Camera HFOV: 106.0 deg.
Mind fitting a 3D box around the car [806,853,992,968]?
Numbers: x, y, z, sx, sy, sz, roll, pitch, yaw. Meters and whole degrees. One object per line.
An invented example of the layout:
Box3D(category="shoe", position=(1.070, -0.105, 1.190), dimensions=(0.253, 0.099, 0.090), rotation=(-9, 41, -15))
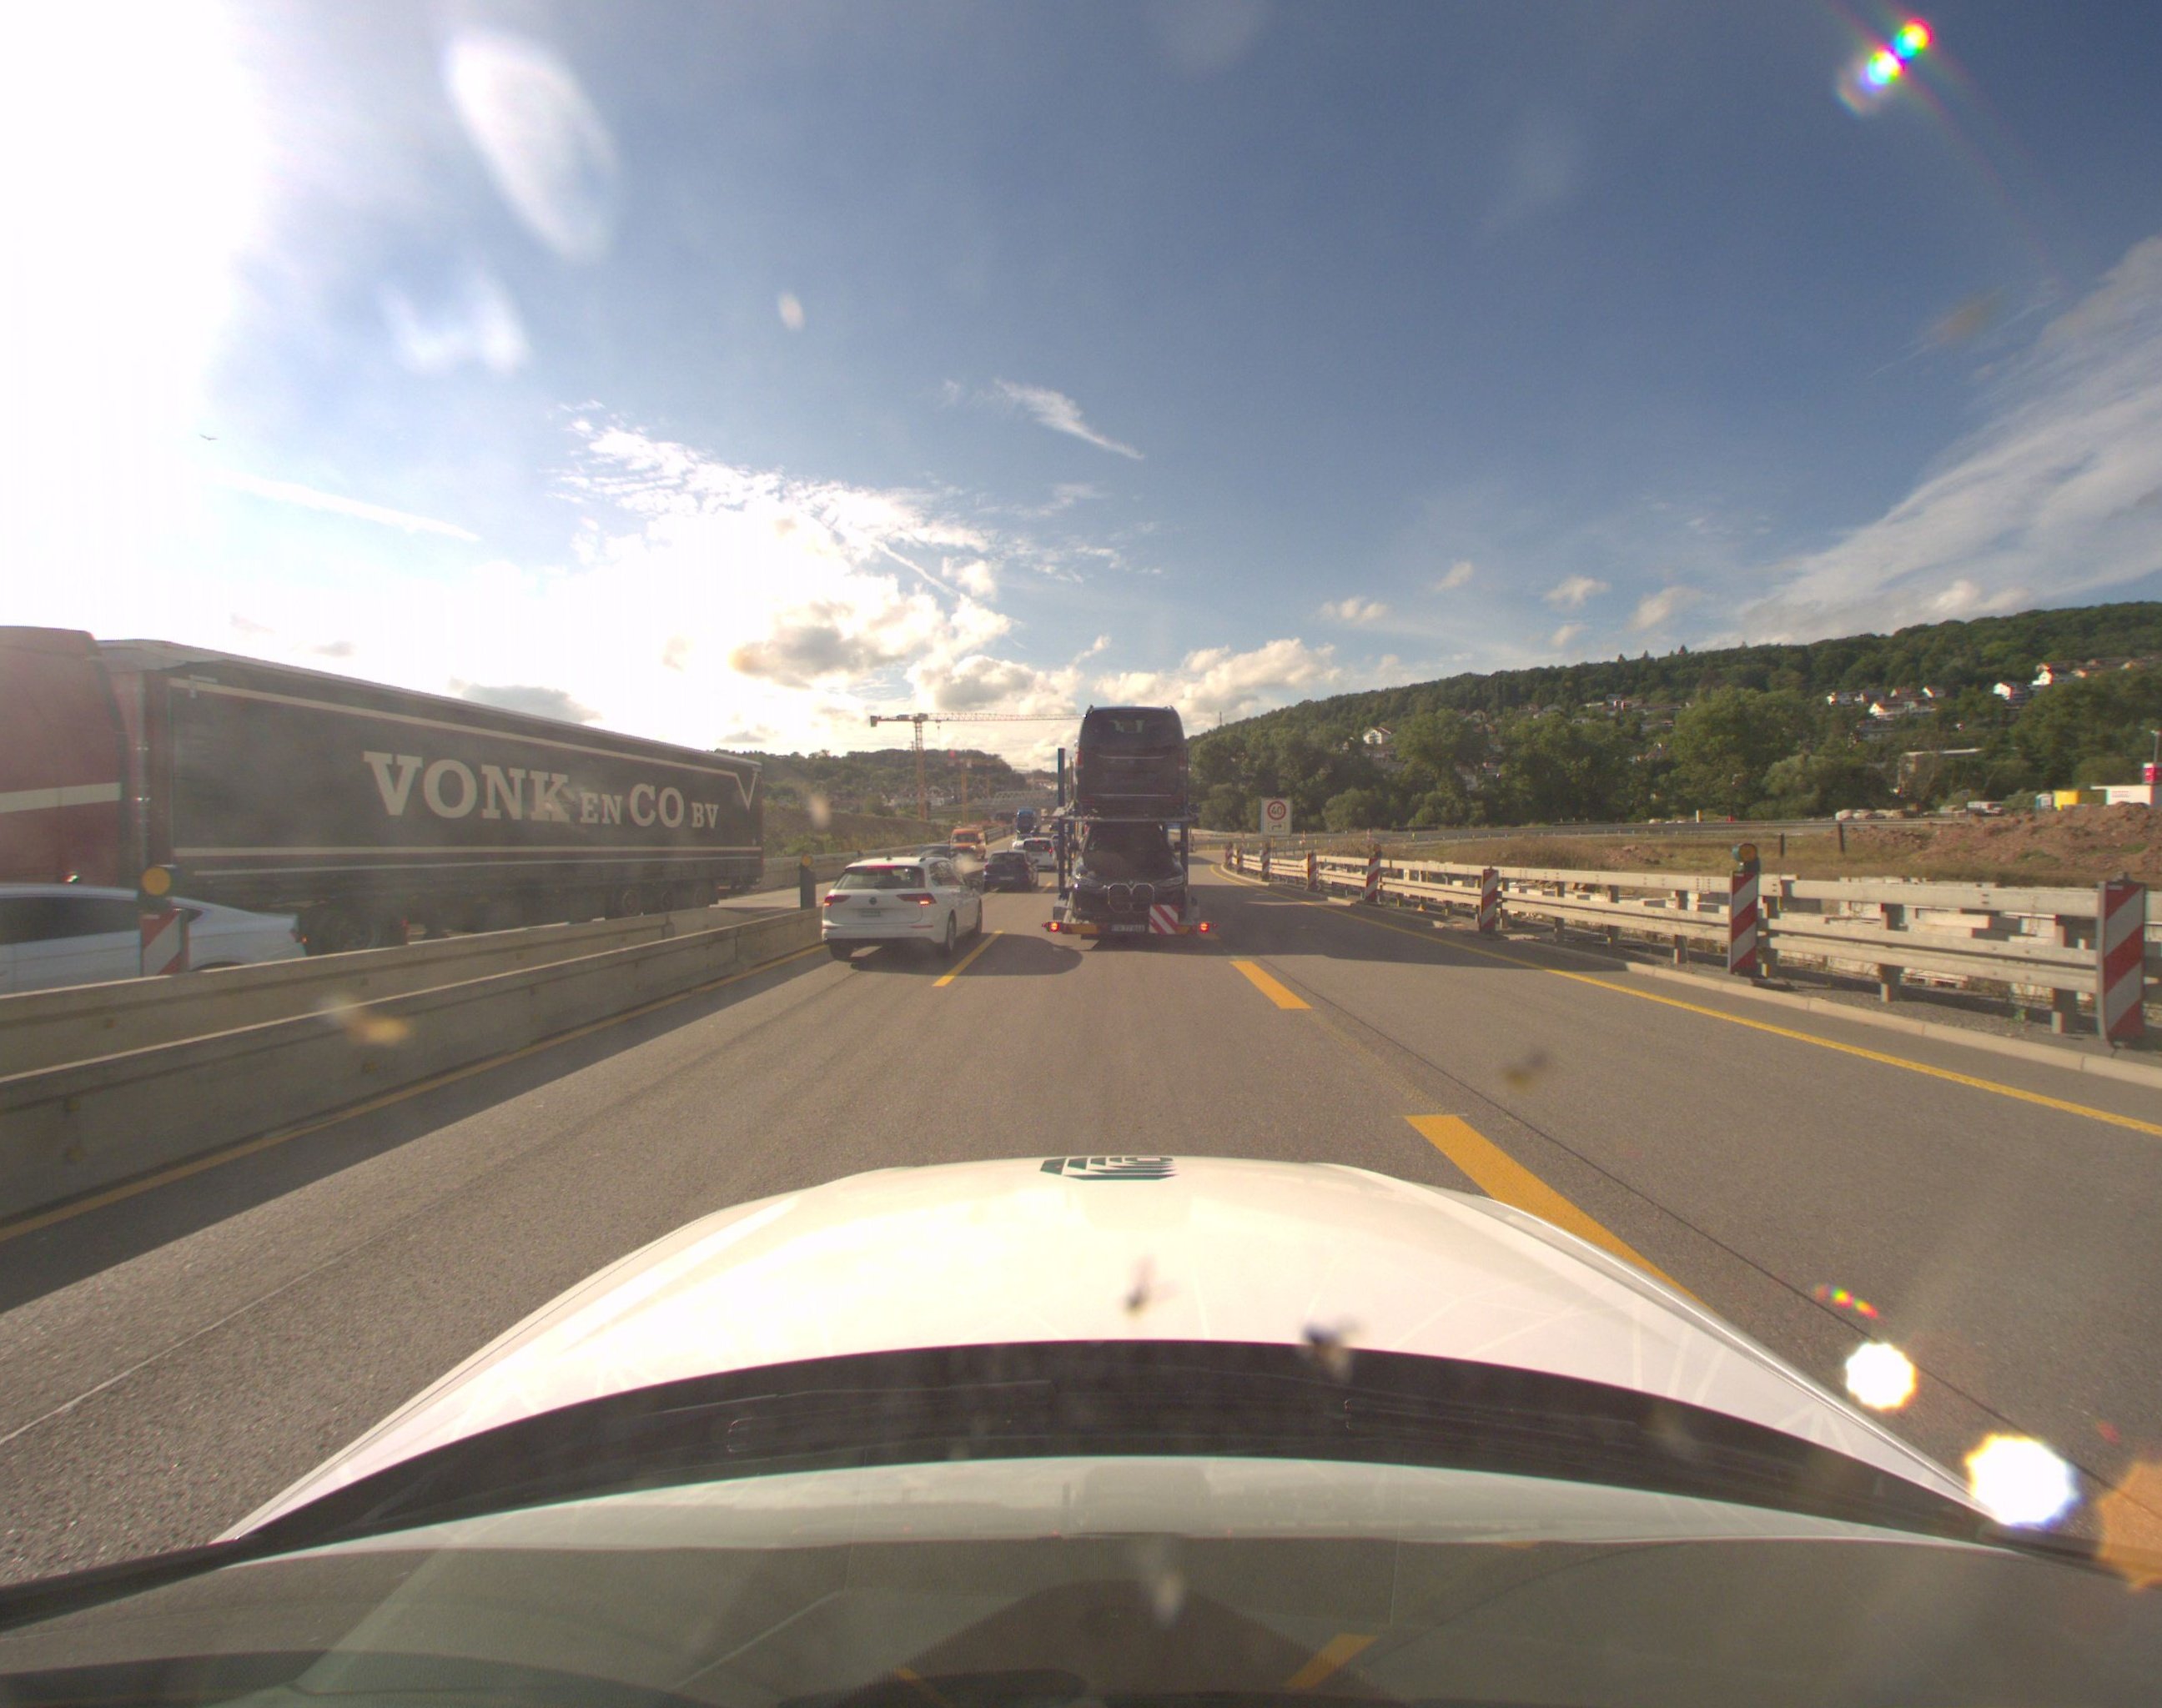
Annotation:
Box3D(category="car", position=(-2.622, 0.731, 12.868), dimensions=(1.763, 1.491, 4.519), rotation=(0, 0, 2))

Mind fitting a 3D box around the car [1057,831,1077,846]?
Box3D(category="car", position=(-1.588, -1.786, 93.124), dimensions=(1.986, 1.666, 4.002), rotation=(0, 0, 2))

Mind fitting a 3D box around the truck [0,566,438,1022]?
Box3D(category="truck", position=(-11.698, -0.600, 9.541), dimensions=(2.900, 4.387, 6.296), rotation=(1, 0, 6))

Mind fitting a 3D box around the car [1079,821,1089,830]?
Box3D(category="car", position=(0.595, -5.315, 152.368), dimensions=(1.839, 1.648, 4.503), rotation=(0, 0, -1))

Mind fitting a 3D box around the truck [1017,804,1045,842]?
Box3D(category="truck", position=(-7.257, -4.469, 120.377), dimensions=(2.811, 4.789, 13.059), rotation=(0, -1, 2))

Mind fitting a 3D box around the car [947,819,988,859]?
Box3D(category="car", position=(-8.397, -1.084, 60.966), dimensions=(1.986, 2.879, 6.068), rotation=(0, 0, 2))

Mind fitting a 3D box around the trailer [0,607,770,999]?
Box3D(category="trailer", position=(-10.985, -0.628, 16.183), dimensions=(2.962, 4.422, 13.839), rotation=(1, 0, 6))

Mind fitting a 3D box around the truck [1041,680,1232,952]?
Box3D(category="truck", position=(1.008, -0.612, 21.460), dimensions=(2.743, 3.954, 18.893), rotation=(-1, 0, 1))

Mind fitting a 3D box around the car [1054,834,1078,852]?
Box3D(category="car", position=(-1.354, -1.036, 74.664), dimensions=(1.985, 1.552, 4.003), rotation=(0, 1, 2))

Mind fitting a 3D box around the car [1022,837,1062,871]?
Box3D(category="car", position=(-2.107, 0.059, 44.950), dimensions=(1.815, 1.792, 4.002), rotation=(0, -1, 3))

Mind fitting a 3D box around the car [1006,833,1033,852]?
Box3D(category="car", position=(-5.666, -1.020, 75.506), dimensions=(1.986, 1.684, 4.002), rotation=(0, -1, 2))

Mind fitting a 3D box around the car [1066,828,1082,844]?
Box3D(category="car", position=(-0.922, -2.520, 113.621), dimensions=(1.986, 2.014, 4.001), rotation=(0, -1, 2))

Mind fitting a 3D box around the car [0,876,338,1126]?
Box3D(category="car", position=(-8.307, 1.040, 5.650), dimensions=(1.834, 1.648, 4.514), rotation=(0, 0, 7))

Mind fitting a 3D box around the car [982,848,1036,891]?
Box3D(category="car", position=(-2.537, 0.510, 29.429), dimensions=(1.717, 1.422, 3.997), rotation=(0, 0, -2))

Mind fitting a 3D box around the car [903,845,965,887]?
Box3D(category="car", position=(-6.125, 0.478, 34.355), dimensions=(1.838, 1.648, 4.235), rotation=(0, 0, 0))

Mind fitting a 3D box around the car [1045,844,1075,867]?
Box3D(category="car", position=(-1.506, 0.145, 60.342), dimensions=(1.987, 1.556, 4.401), rotation=(0, -1, 1))
